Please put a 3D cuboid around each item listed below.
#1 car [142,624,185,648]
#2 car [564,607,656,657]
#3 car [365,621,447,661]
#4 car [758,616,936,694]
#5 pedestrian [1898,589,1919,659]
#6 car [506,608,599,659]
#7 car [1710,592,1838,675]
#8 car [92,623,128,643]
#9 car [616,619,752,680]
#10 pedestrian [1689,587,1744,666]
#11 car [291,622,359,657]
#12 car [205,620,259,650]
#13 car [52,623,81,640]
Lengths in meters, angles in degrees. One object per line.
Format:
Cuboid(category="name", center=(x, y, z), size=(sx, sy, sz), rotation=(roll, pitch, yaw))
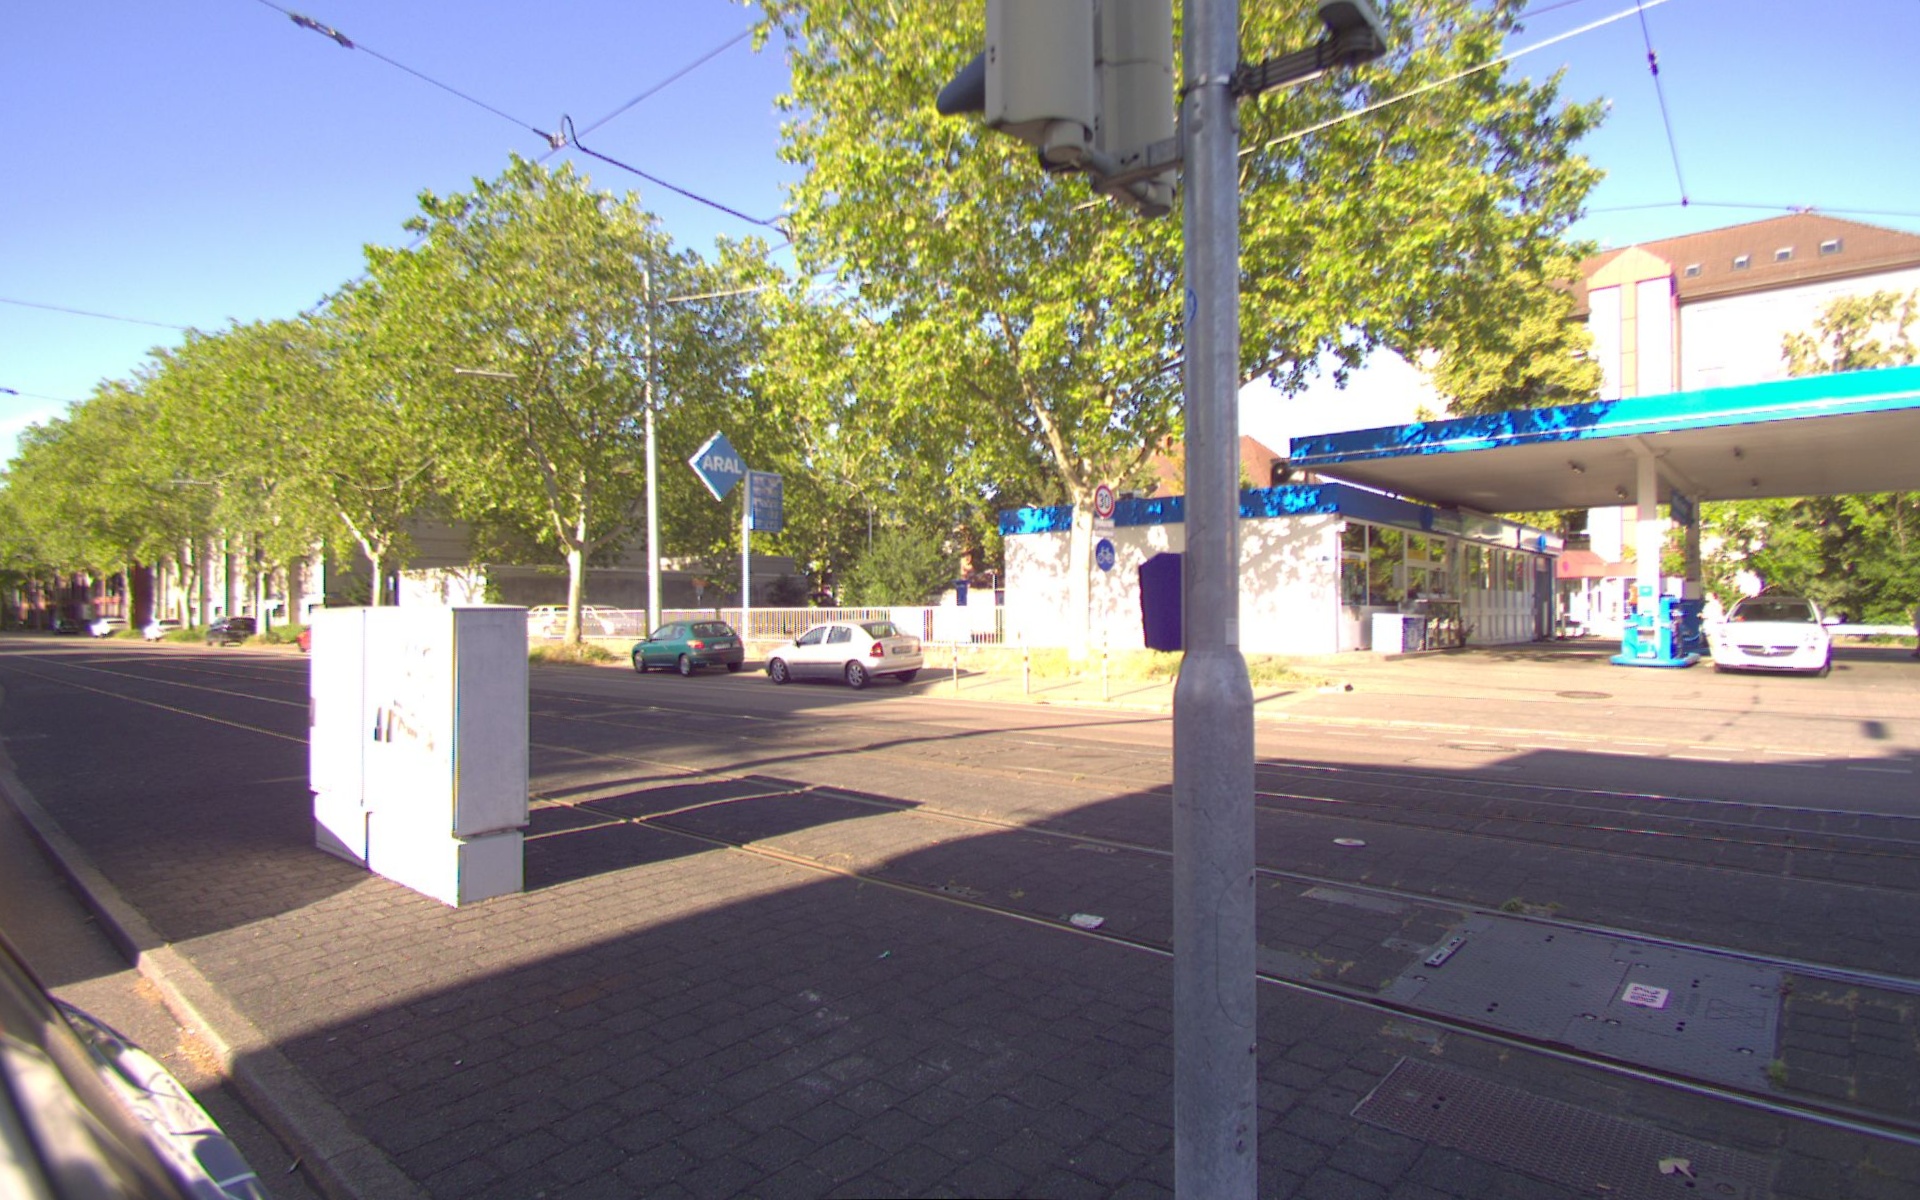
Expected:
Cuboid(category="car", center=(-53.638, 2.391, 68.137), size=(3.858, 1.495, 1.735), rotation=(-1, 0, 43))
Cuboid(category="car", center=(-15.147, 1.360, 43.703), size=(3.996, 2.029, 1.974), rotation=(-1, -1, 39))
Cuboid(category="car", center=(-21.986, 1.584, 40.104), size=(3.858, 1.468, 1.735), rotation=(-1, 0, 43))
Cuboid(category="car", center=(-2.576, 1.165, 22.608), size=(3.857, 1.497, 1.823), rotation=(-1, 1, 42))
Cuboid(category="pedestrian", center=(25.356, 0.616, 26.425), size=(0.887, 1.815, 0.907), rotation=(-1, -1, 15))
Cuboid(category="car", center=(-17.046, 1.390, 42.275), size=(3.996, 2.029, 1.974), rotation=(-1, -1, 39))
Cuboid(category="car", center=(15.938, 0.613, 19.792), size=(1.793, 1.453, 3.946), rotation=(-1, -1, 40))
Cuboid(category="car", center=(-66.925, 2.570, 79.657), size=(3.858, 1.495, 1.735), rotation=(-1, 0, 43))
Cuboid(category="car", center=(-7.436, 1.272, 27.088), size=(3.858, 1.408, 1.722), rotation=(-1, 1, 43))
Cuboid(category="pedestrian", center=(16.149, 0.554, 21.611), size=(0.637, 1.642, 0.814), rotation=(1, -2, -42))
Cuboid(category="car", center=(-28.913, 1.769, 46.059), size=(3.858, 1.440, 1.695), rotation=(-1, 0, 43))
Cuboid(category="car", center=(-40.676, 1.949, 56.500), size=(3.858, 1.557, 1.735), rotation=(-1, 0, 43))
Cuboid(category="car", center=(-84.871, 3.001, 96.133), size=(3.858, 1.495, 1.735), rotation=(-1, 0, 43))
